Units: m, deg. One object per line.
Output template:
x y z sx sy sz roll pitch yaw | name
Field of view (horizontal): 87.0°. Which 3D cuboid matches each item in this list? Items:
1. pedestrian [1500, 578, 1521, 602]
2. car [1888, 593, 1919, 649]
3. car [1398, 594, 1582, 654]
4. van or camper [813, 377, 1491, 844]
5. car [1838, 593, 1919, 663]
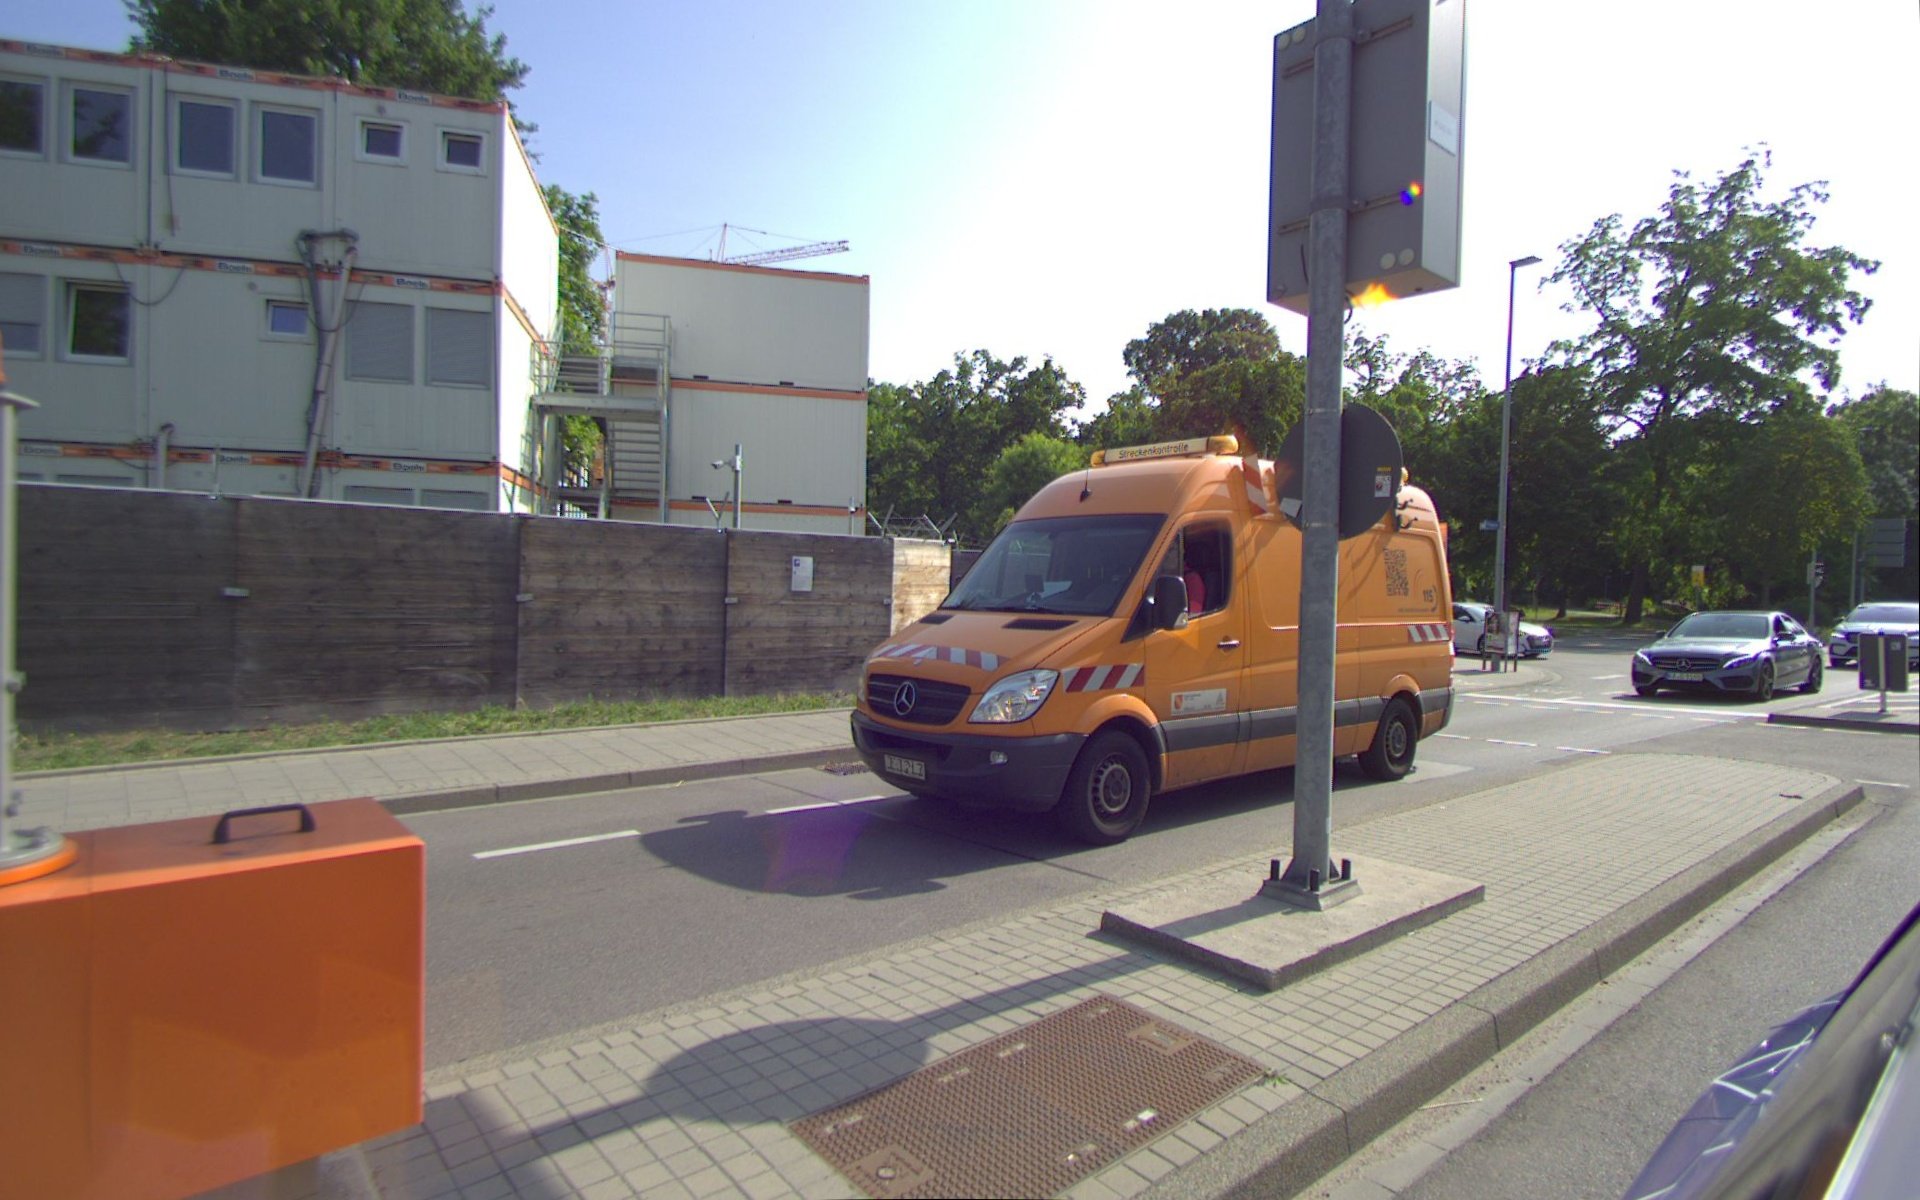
43.308 -0.778 79.648 1.048 1.853 0.987 1 1 -10 | pedestrian
30.247 0.637 31.172 3.930 1.660 1.997 0 2 -41 | car
14.702 0.607 28.341 1.958 1.423 4.292 1 2 -22 | car
1.915 0.065 8.095 5.952 2.503 1.990 0 0 -39 | van or camper
23.323 0.642 24.980 4.175 1.590 1.896 0 0 -40 | car
